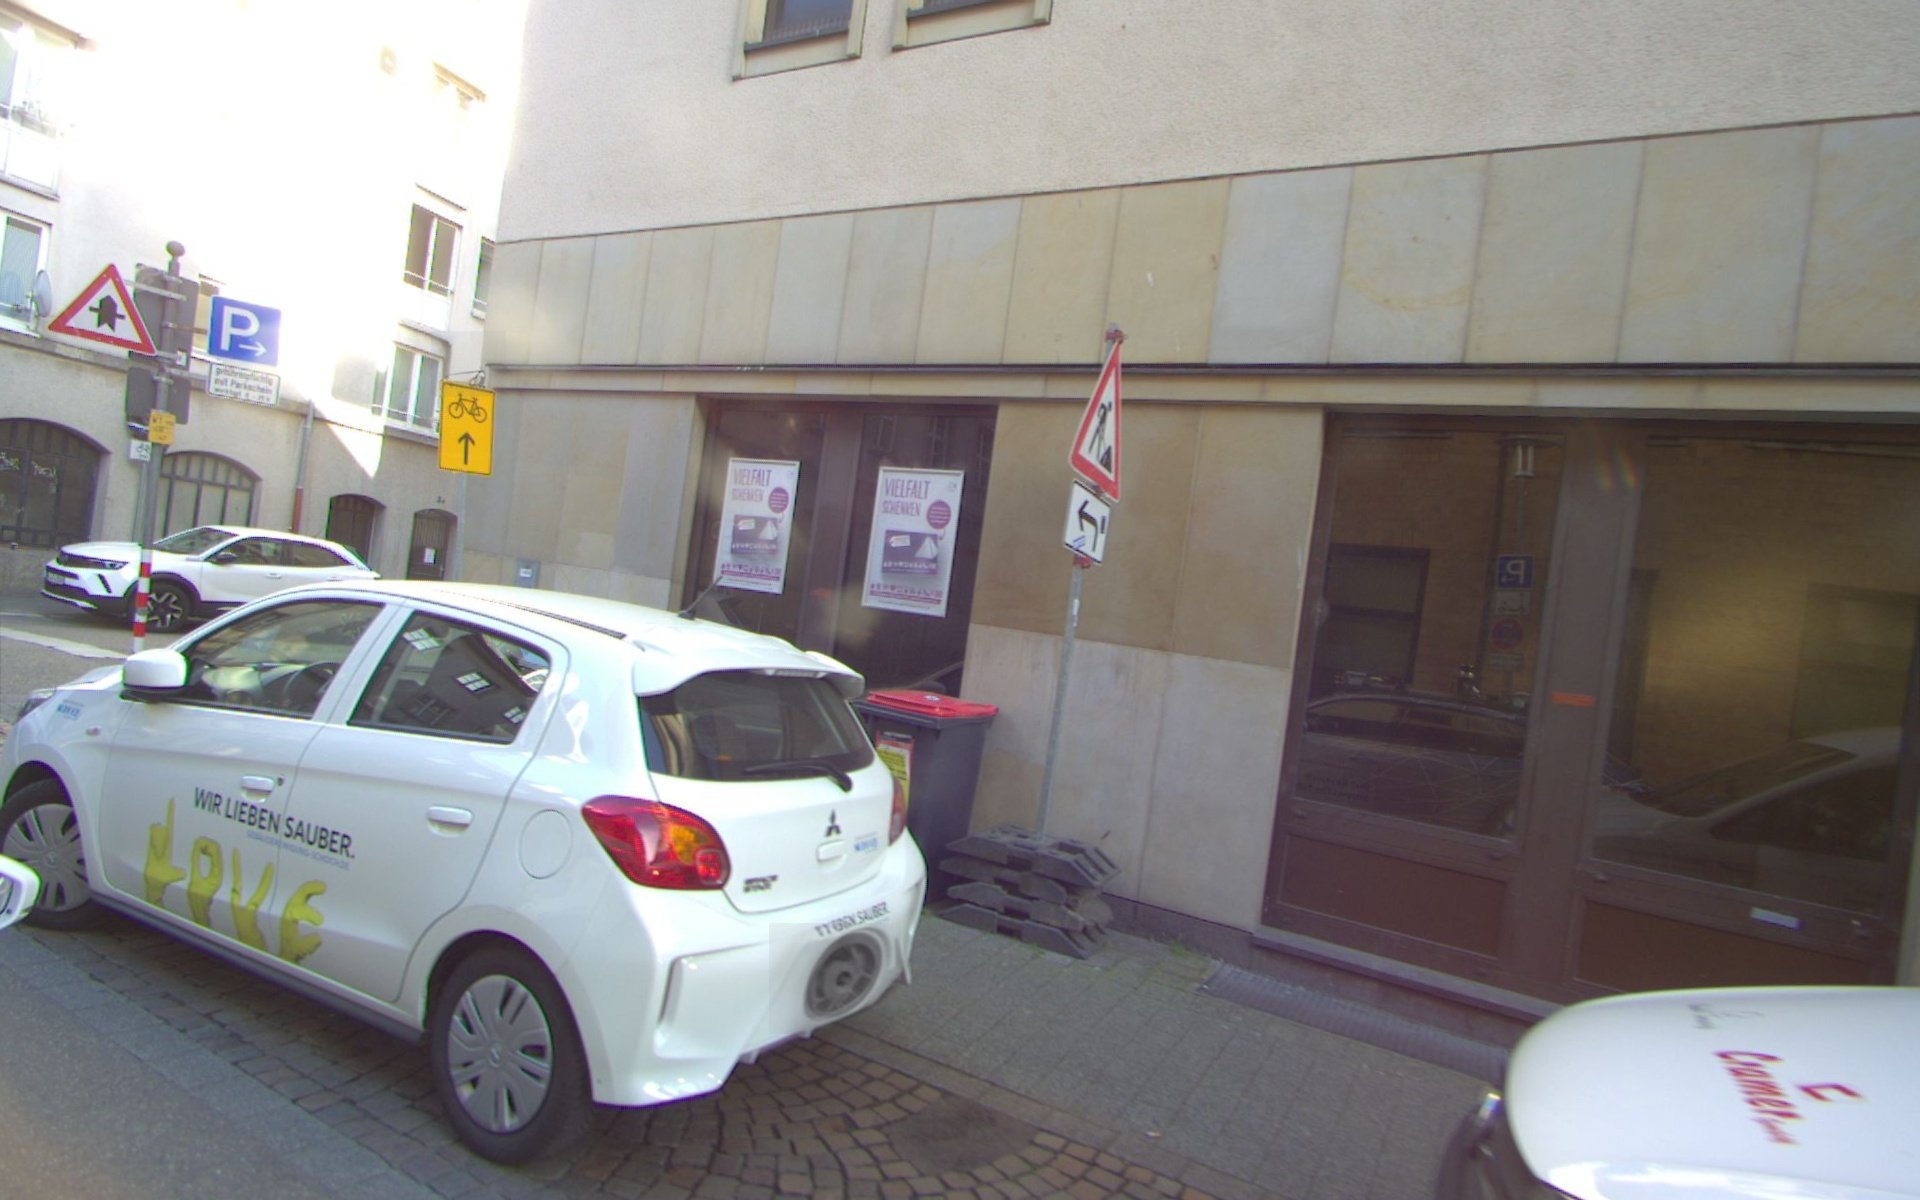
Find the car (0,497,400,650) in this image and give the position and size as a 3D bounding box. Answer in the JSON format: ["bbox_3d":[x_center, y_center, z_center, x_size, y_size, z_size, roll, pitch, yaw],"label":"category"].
[{"bbox_3d":[-10.951,-0.283,14.848,1.869,1.571,4.227,8,-2,28],"label":"car"}]

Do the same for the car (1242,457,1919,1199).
[{"bbox_3d":[3.035,1.073,0.857,5.126,1.811,1.835,7,-2,30],"label":"car"}]

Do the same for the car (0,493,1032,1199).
[{"bbox_3d":[-1.996,0.617,3.999,3.990,1.536,1.894,7,-1,26],"label":"car"}]
